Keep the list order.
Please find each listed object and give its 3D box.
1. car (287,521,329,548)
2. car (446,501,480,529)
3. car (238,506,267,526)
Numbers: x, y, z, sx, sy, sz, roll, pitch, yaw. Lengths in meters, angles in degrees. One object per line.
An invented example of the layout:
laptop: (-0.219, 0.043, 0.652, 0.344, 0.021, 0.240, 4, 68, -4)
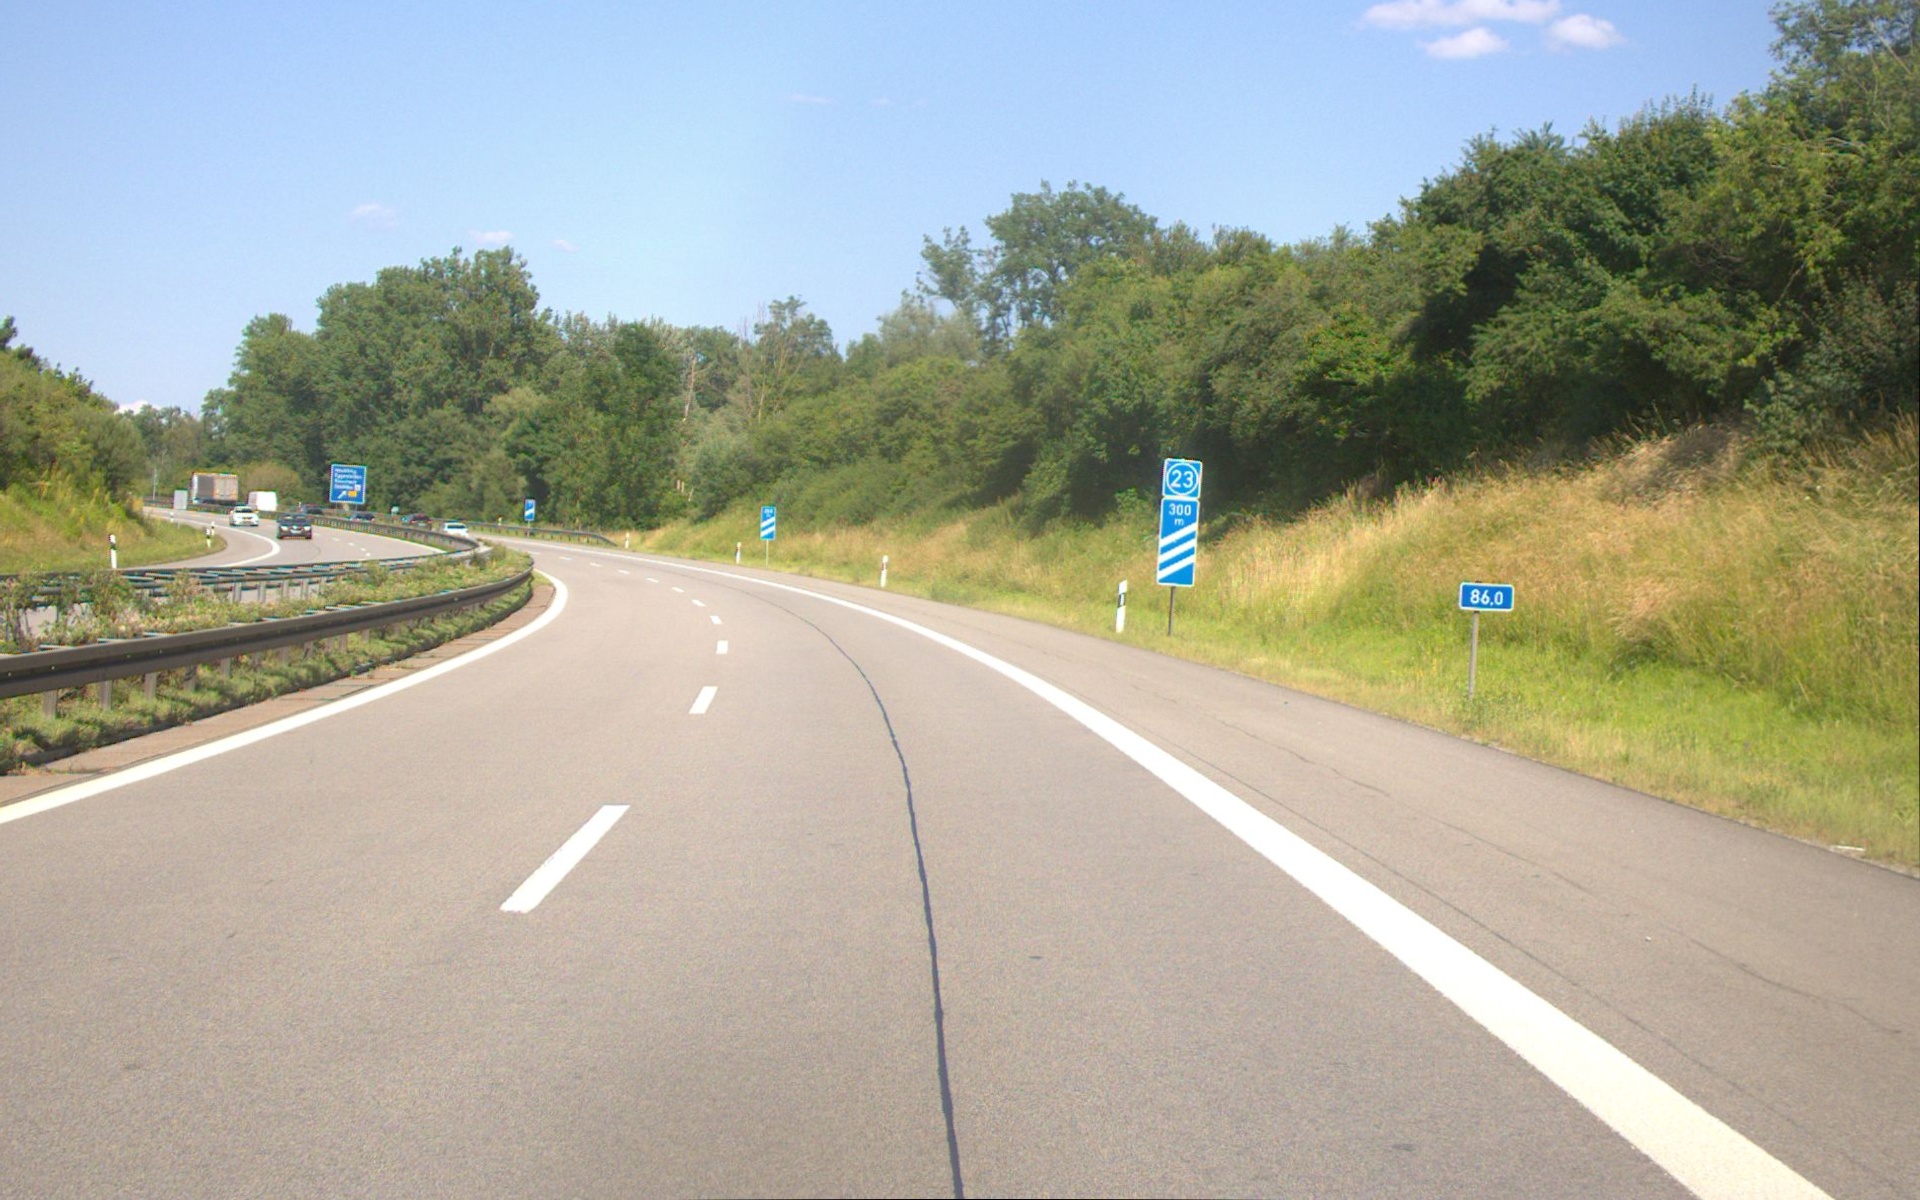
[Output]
car: (-37.698, -3.785, 198.923, 1.966, 1.559, 5.175, 0, 1, -6)
car: (-31.612, -5.416, 218.602, 2.061, 1.619, 4.001, 1, -1, -9)
car: (-52.014, -6.212, 252.811, 1.899, 1.417, 4.400, 0, 2, -9)
